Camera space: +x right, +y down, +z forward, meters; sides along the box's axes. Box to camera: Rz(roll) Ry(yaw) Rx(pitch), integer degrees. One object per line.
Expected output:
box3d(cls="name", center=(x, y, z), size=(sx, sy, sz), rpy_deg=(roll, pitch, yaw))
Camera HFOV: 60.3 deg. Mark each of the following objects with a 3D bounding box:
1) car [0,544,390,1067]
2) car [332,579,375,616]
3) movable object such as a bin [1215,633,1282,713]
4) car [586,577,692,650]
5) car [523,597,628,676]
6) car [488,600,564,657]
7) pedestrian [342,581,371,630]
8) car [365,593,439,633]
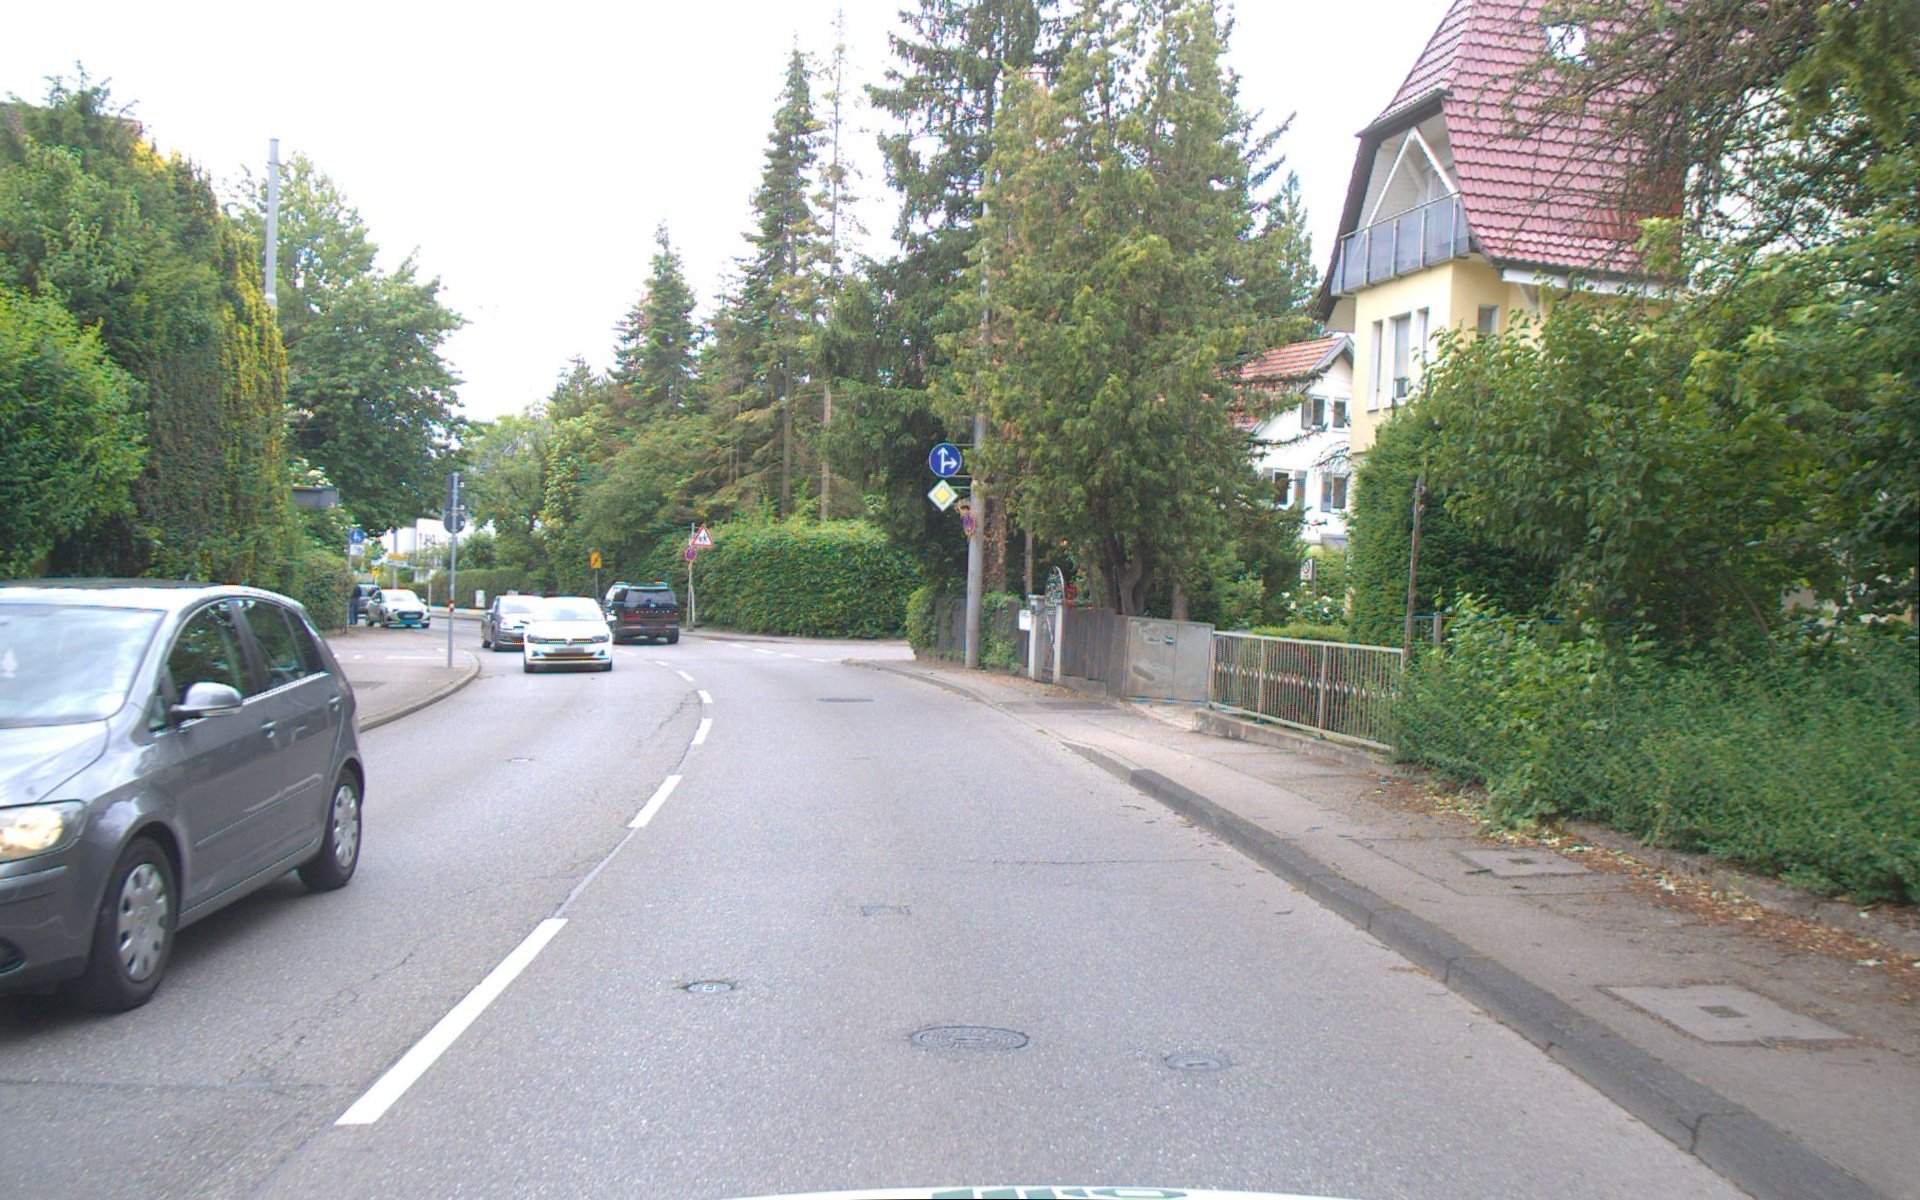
box3d(cls="car", center=(-3.967, 0.638, 7.114), size=(1.955, 1.646, 3.996), rpy_deg=(0, 0, -5))
box3d(cls="car", center=(-30.181, -0.114, 82.337), size=(1.865, 1.736, 3.978), rpy_deg=(2, -1, -19))
box3d(cls="movable object such as a bin", center=(3.978, 1.001, 22.863), size=(0.761, 1.067, 0.783), rpy_deg=(1, 0, -1))
box3d(cls="car", center=(-9.496, 0.374, 48.757), size=(1.970, 1.914, 3.965), rpy_deg=(2, 1, -28))
box3d(cls="car", center=(-7.871, 0.702, 34.132), size=(1.868, 1.479, 3.787), rpy_deg=(-1, 0, -10))
box3d(cls="car", center=(-11.566, 0.734, 44.201), size=(1.881, 1.422, 3.895), rpy_deg=(0, 0, -14))
box3d(cls="pedestrian", center=(-21.353, 0.198, 58.497), size=(0.626, 1.691, 0.905), rpy_deg=(3, -2, -44))
box3d(cls="car", center=(-21.744, 0.502, 64.361), size=(1.791, 1.468, 4.151), rpy_deg=(0, 0, -32))
